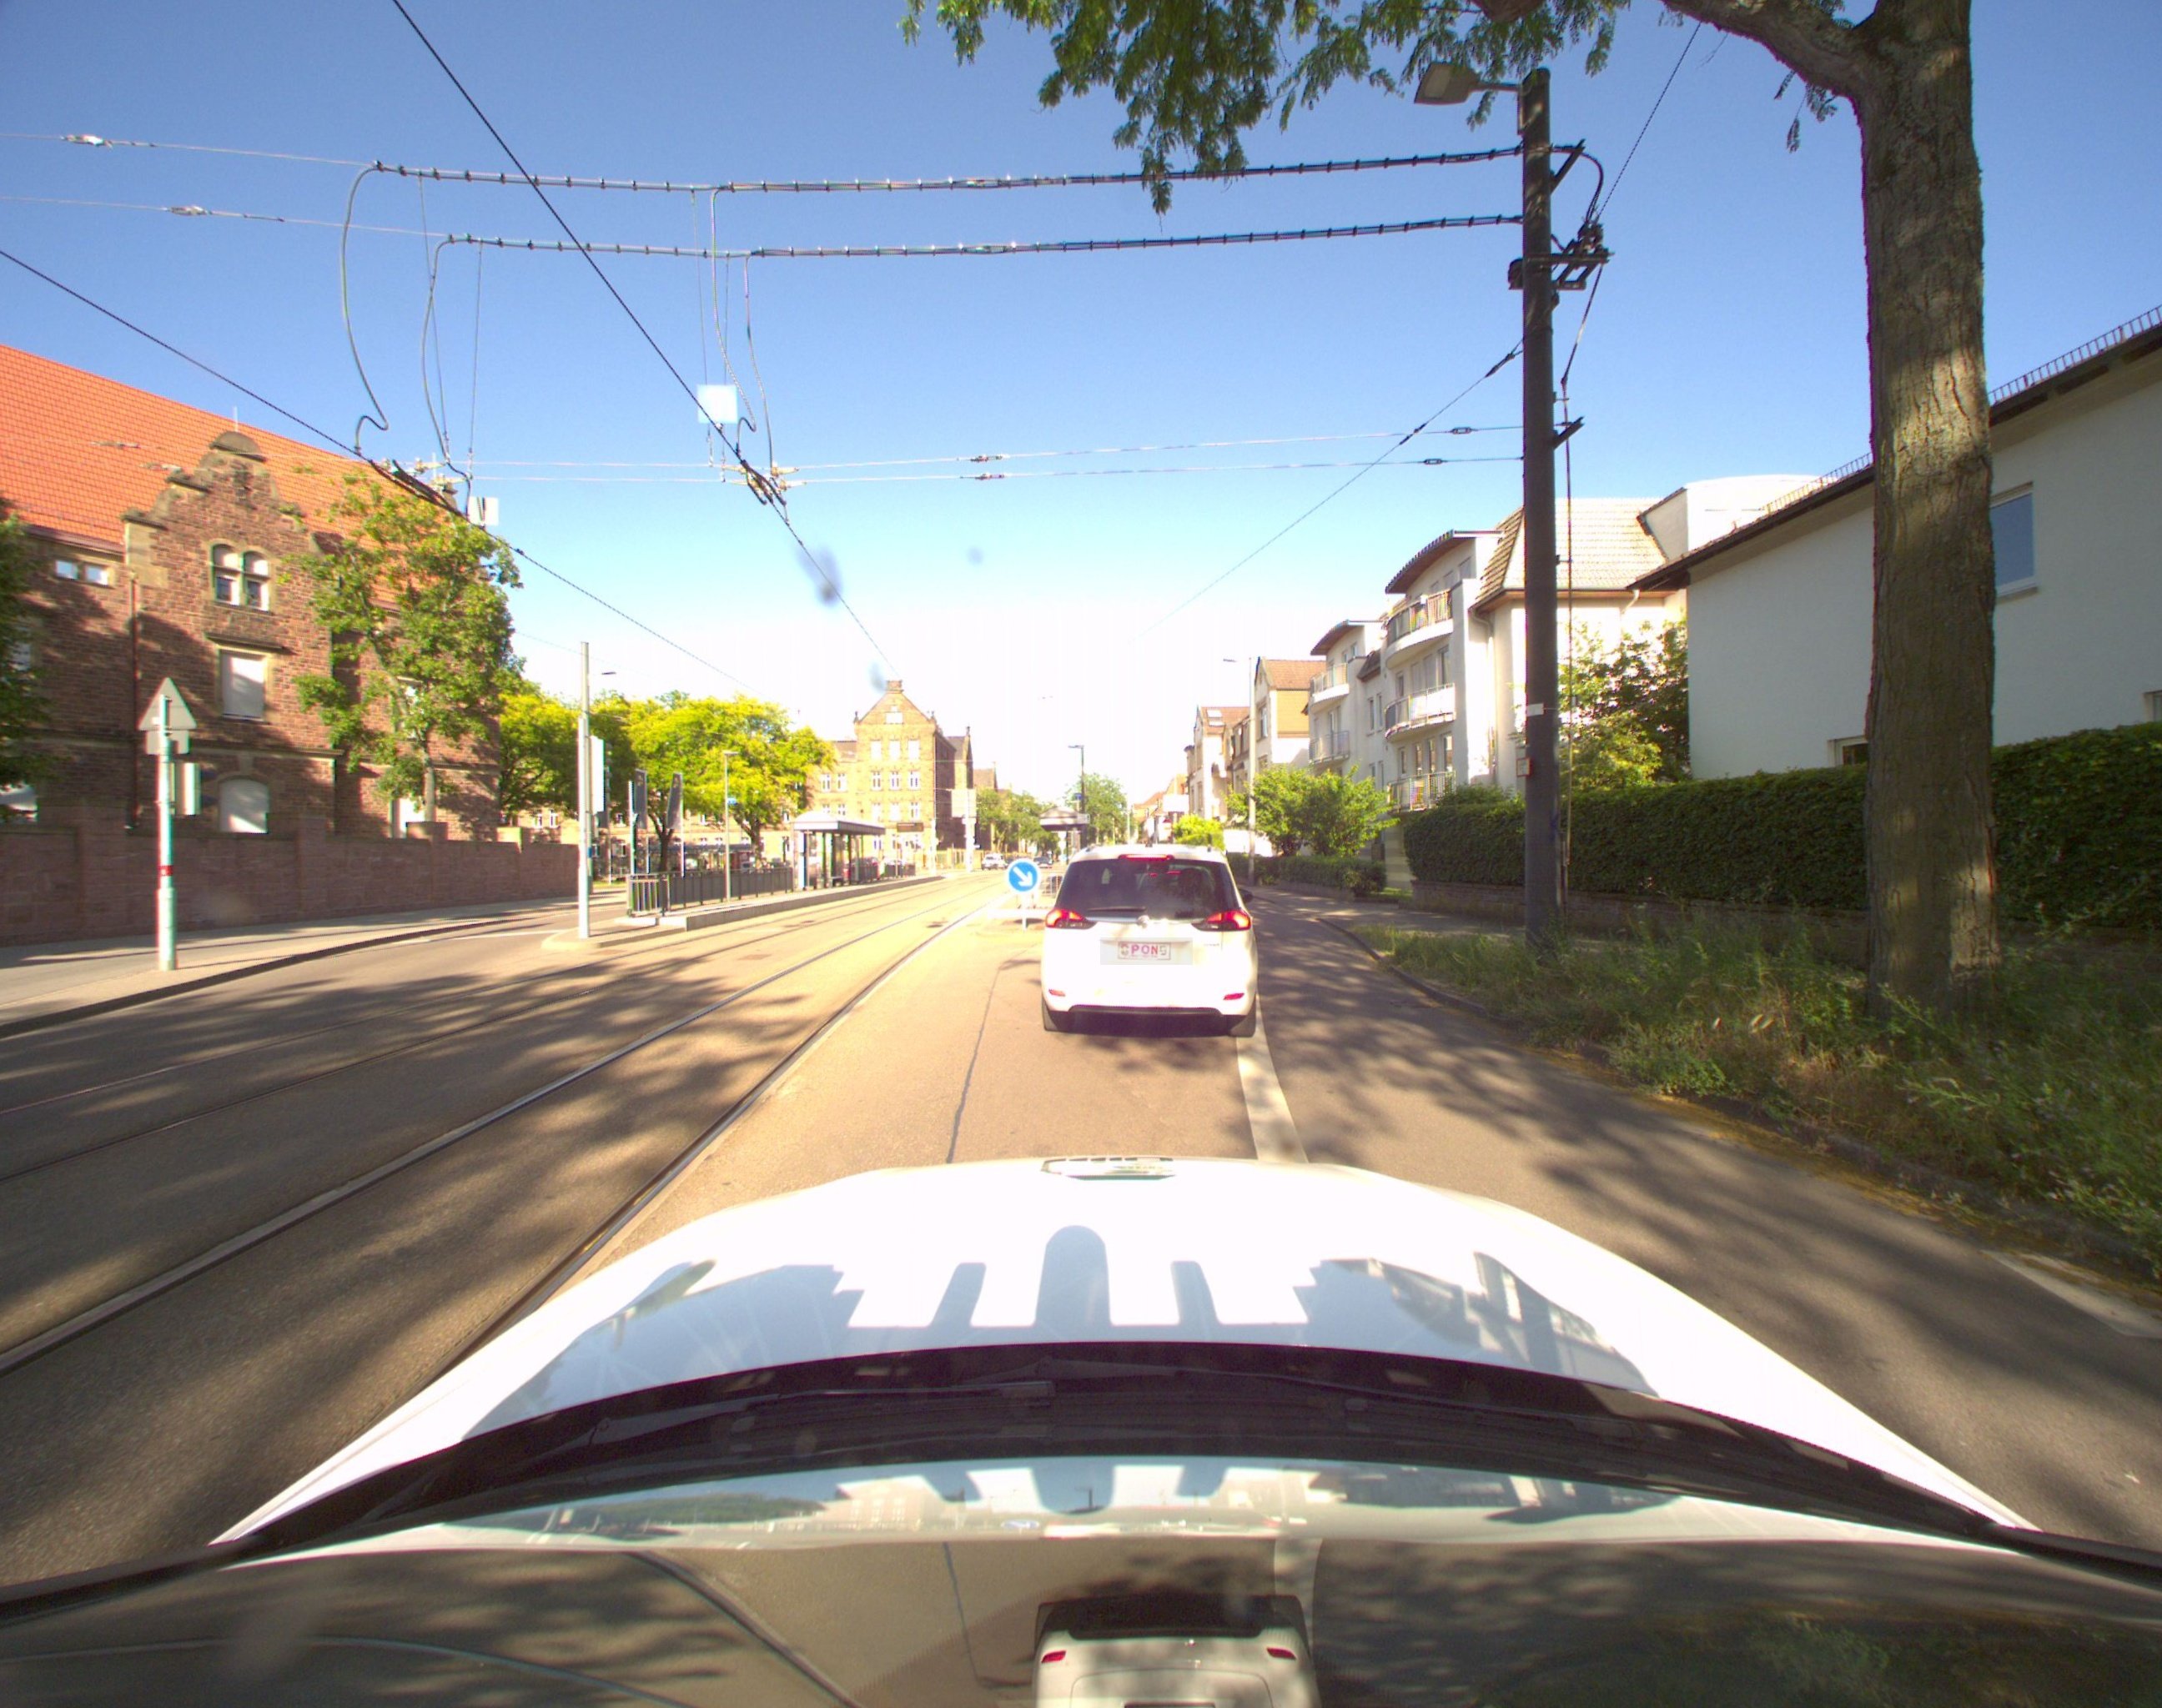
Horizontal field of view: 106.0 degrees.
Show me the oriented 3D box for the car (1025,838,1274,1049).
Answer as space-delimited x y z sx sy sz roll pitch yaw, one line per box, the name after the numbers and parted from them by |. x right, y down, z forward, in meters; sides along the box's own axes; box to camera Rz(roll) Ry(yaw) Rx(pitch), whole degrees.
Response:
0.767 0.676 8.196 1.868 1.585 4.008 -1 0 7 | car

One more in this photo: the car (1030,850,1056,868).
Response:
-4.366 0.579 93.637 1.999 2.013 3.976 -1 0 -18 | car

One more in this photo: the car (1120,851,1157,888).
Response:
2.691 0.715 38.807 1.590 1.635 3.903 1 0 2 | car

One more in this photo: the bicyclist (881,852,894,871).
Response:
-15.995 0.581 67.349 0.758 1.536 1.347 -1 0 -2 | bicyclist

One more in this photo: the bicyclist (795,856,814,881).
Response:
-16.534 0.879 48.639 0.650 1.459 1.153 -1 0 4 | bicyclist

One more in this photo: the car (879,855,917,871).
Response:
-20.945 1.002 93.121 3.978 1.809 1.702 -1 0 -4 | car

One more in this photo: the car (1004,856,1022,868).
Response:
-8.670 0.965 104.095 1.792 1.382 4.496 -1 0 1 | car

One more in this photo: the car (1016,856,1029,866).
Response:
-8.814 1.104 122.948 1.822 1.446 4.324 -1 -1 -1 | car

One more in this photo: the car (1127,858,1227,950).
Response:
1.775 0.804 14.869 1.560 1.401 3.792 1 0 7 | car

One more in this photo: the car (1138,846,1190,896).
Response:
2.917 0.576 29.268 1.590 1.635 3.903 1 0 2 | car

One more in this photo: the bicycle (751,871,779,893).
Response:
-16.379 1.448 42.277 0.683 1.089 2.062 -1 0 -2 | bicycle

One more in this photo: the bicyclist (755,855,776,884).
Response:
-16.391 0.811 42.302 0.651 1.459 1.151 -1 0 -3 | bicyclist

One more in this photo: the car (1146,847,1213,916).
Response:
2.563 0.644 21.107 1.560 1.614 3.792 1 0 7 | car

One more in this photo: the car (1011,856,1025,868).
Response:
-8.915 1.124 115.048 1.822 1.617 4.323 -1 -1 -3 | car

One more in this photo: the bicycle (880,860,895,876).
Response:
-15.980 1.154 67.282 0.775 1.231 2.087 -1 0 -2 | bicycle

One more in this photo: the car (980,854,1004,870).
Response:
-9.961 0.893 91.495 1.819 1.788 4.260 -1 0 4 | car
